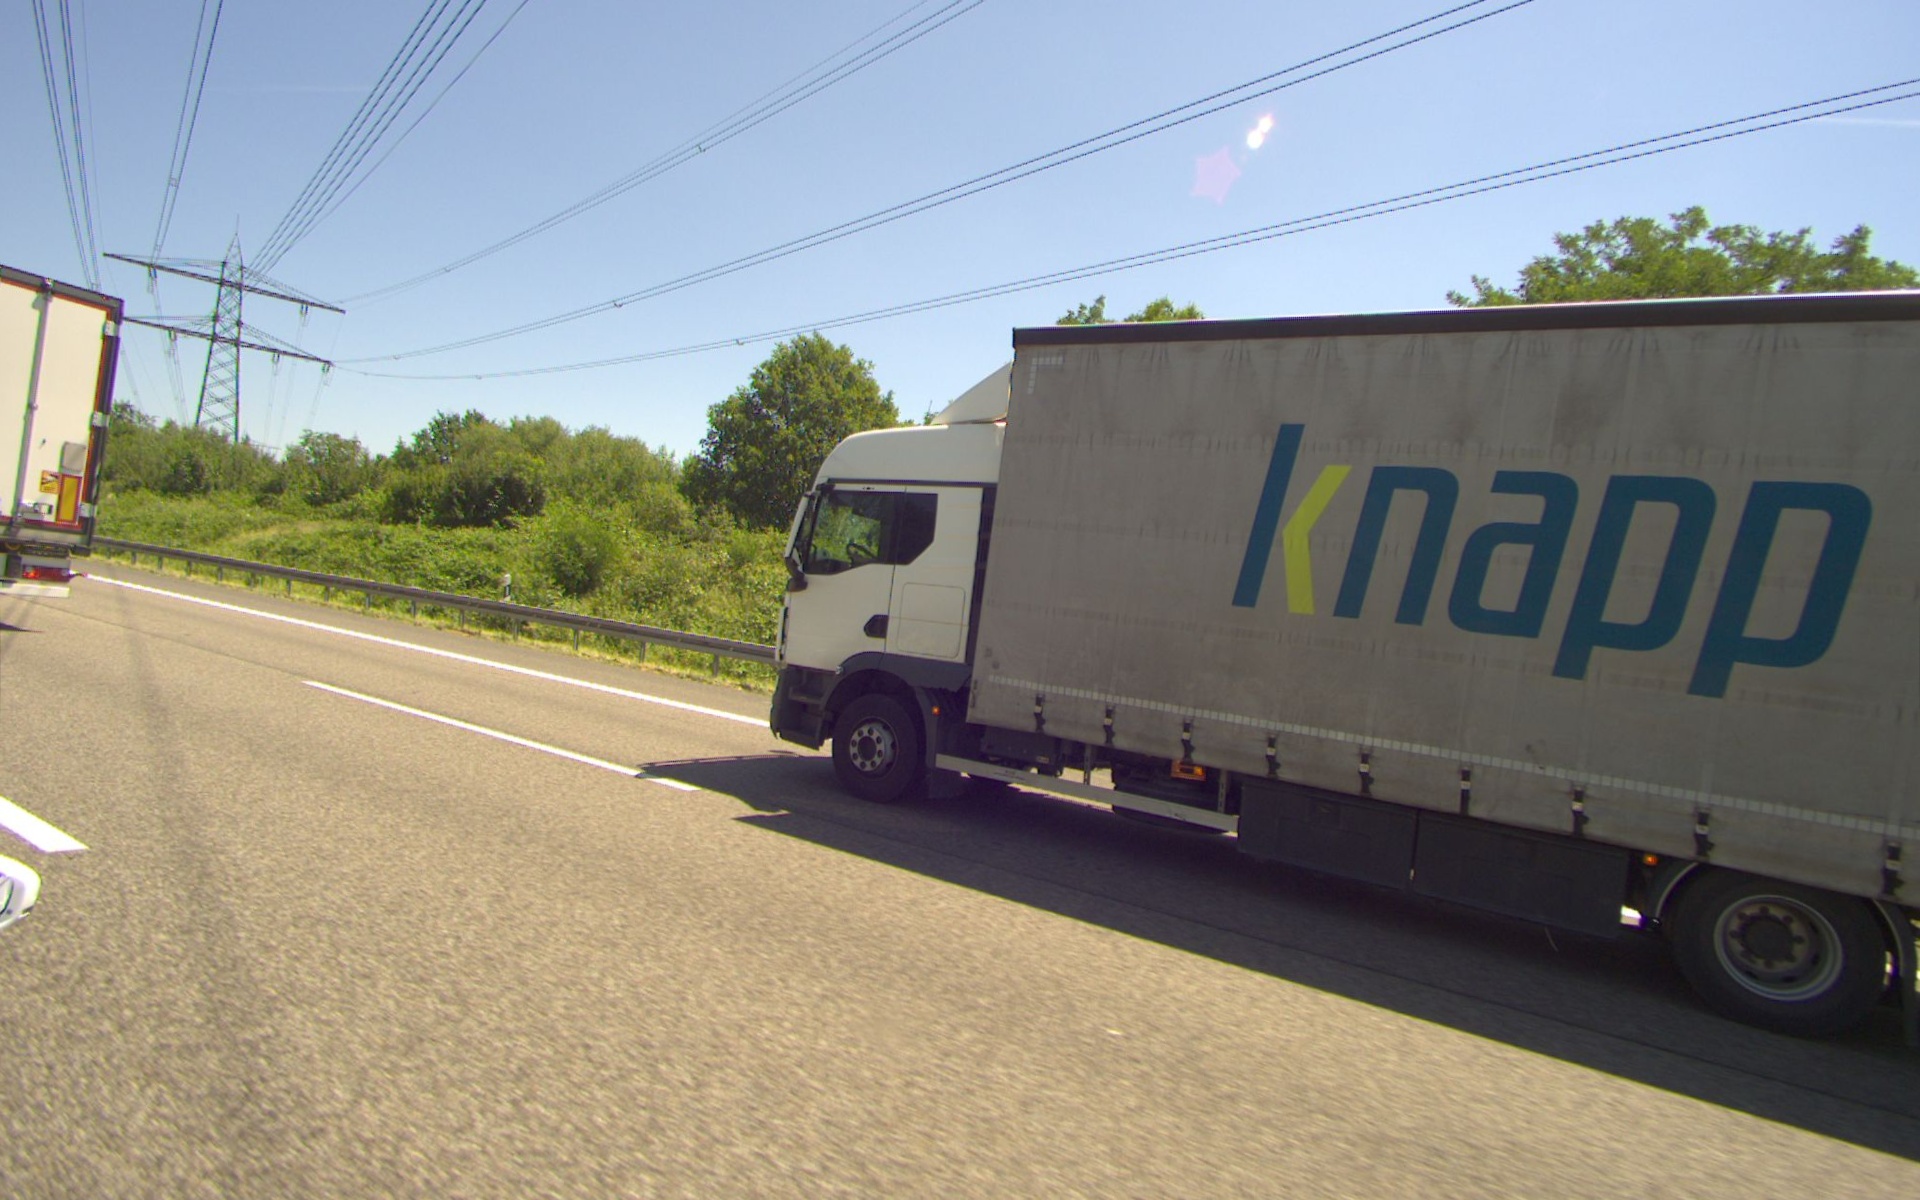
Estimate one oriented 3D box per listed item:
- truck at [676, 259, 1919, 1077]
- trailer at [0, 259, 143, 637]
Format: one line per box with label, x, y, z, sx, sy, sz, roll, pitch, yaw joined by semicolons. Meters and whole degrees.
truck;2.384;0.071;7.199;9.876;3.817;1.985;7;-1;32
trailer;-17.541;-2.449;14.987;15.932;4.064;2.943;6;-2;32
